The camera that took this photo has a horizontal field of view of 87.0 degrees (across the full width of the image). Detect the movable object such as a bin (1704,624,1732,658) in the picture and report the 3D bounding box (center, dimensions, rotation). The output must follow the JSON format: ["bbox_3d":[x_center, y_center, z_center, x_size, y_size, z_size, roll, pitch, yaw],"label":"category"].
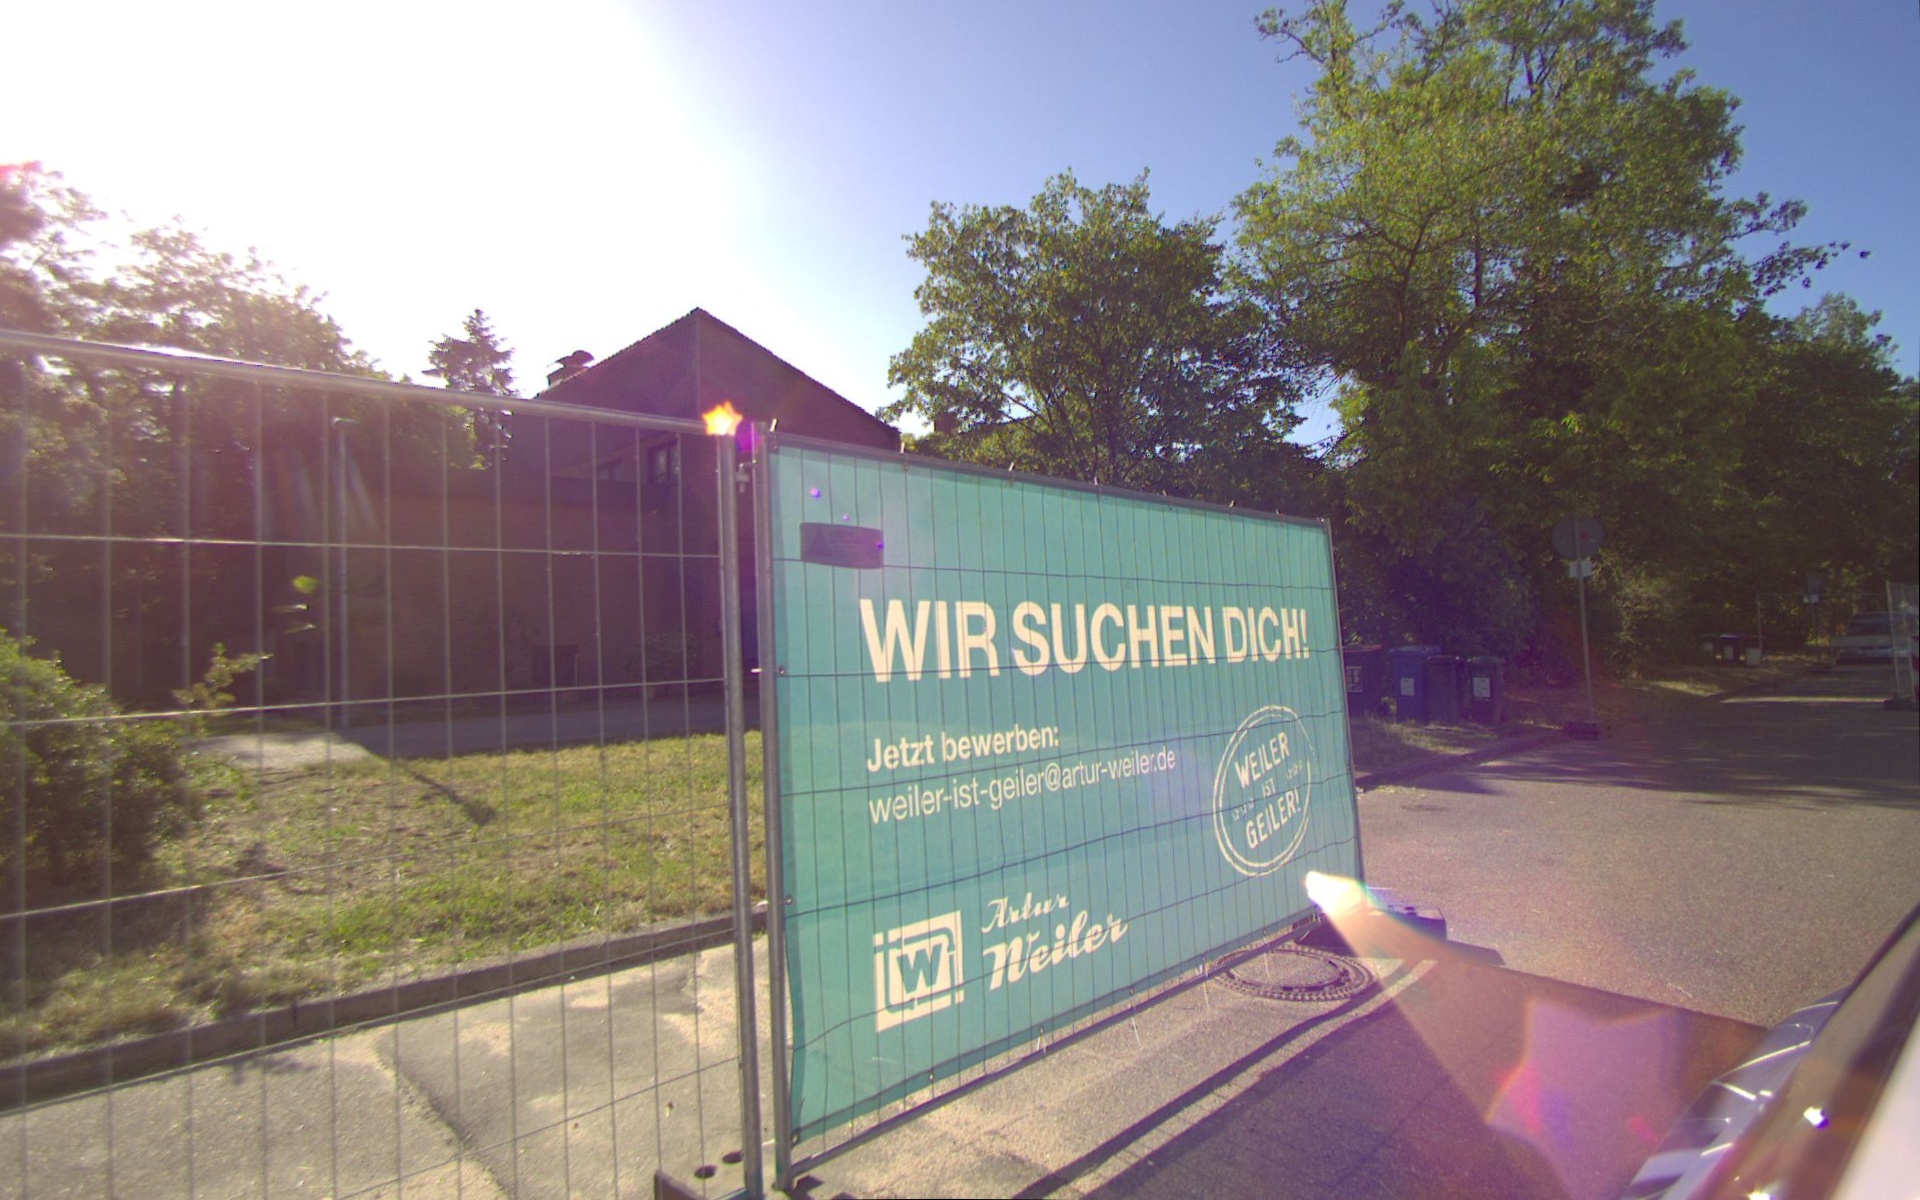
[{"bbox_3d":[20.219,1.098,26.980,0.550,0.872,0.484,1,-3,-44],"label":"movable object such as a bin"}]

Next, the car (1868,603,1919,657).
[{"bbox_3d":[29.915,0.907,31.631,3.994,1.595,1.681,0,-3,-41],"label":"car"}]

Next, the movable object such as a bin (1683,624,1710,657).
[{"bbox_3d":[19.927,1.102,27.383,0.550,0.872,0.484,1,-3,-44],"label":"movable object such as a bin"}]

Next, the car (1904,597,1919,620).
[{"bbox_3d":[87.195,0.733,89.505,1.966,2.030,5.260,1,-1,-43],"label":"car"}]

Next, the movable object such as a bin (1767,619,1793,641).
[{"bbox_3d":[34.568,1.259,42.660,0.454,0.891,0.728,-7,4,-35],"label":"movable object such as a bin"}]

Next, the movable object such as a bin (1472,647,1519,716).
[{"bbox_3d":[7.276,1.101,13.757,0.476,0.881,0.413,0,-1,-41],"label":"movable object such as a bin"}]

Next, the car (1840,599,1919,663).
[{"bbox_3d":[25.959,0.846,28.155,4.066,1.643,1.680,0,-3,-42],"label":"car"}]

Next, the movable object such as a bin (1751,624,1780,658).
[{"bbox_3d":[20.897,1.069,26.263,0.550,0.872,0.484,1,-3,-44],"label":"movable object such as a bin"}]

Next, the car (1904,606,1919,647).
[{"bbox_3d":[36.644,0.960,37.893,2.629,1.529,1.496,0,-3,-39],"label":"car"}]

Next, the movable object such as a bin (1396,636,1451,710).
[{"bbox_3d":[6.680,1.039,14.581,0.597,1.012,0.519,0,-1,-41],"label":"movable object such as a bin"}]

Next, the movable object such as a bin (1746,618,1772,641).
[{"bbox_3d":[34.150,1.262,43.269,0.454,0.891,0.728,-7,4,-35],"label":"movable object such as a bin"}]

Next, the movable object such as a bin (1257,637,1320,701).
[{"bbox_3d":[5.227,1.082,16.114,0.683,0.940,0.695,0,0,-41],"label":"movable object such as a bin"}]

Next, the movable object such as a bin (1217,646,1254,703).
[{"bbox_3d":[4.527,1.212,16.604,0.424,0.893,0.518,-1,-1,37],"label":"movable object such as a bin"}]

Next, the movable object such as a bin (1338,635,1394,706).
[{"bbox_3d":[6.100,1.042,15.205,0.597,1.012,0.563,0,-1,-41],"label":"movable object such as a bin"}]

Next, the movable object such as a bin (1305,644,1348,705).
[{"bbox_3d":[5.645,1.135,15.578,0.516,0.881,0.419,0,-1,-41],"label":"movable object such as a bin"}]

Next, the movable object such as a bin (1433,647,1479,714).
[{"bbox_3d":[6.900,1.103,14.081,0.476,0.881,0.413,0,-1,-41],"label":"movable object such as a bin"}]

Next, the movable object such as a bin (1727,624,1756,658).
[{"bbox_3d":[20.557,1.068,26.618,0.550,0.872,0.484,1,-3,-44],"label":"movable object such as a bin"}]
